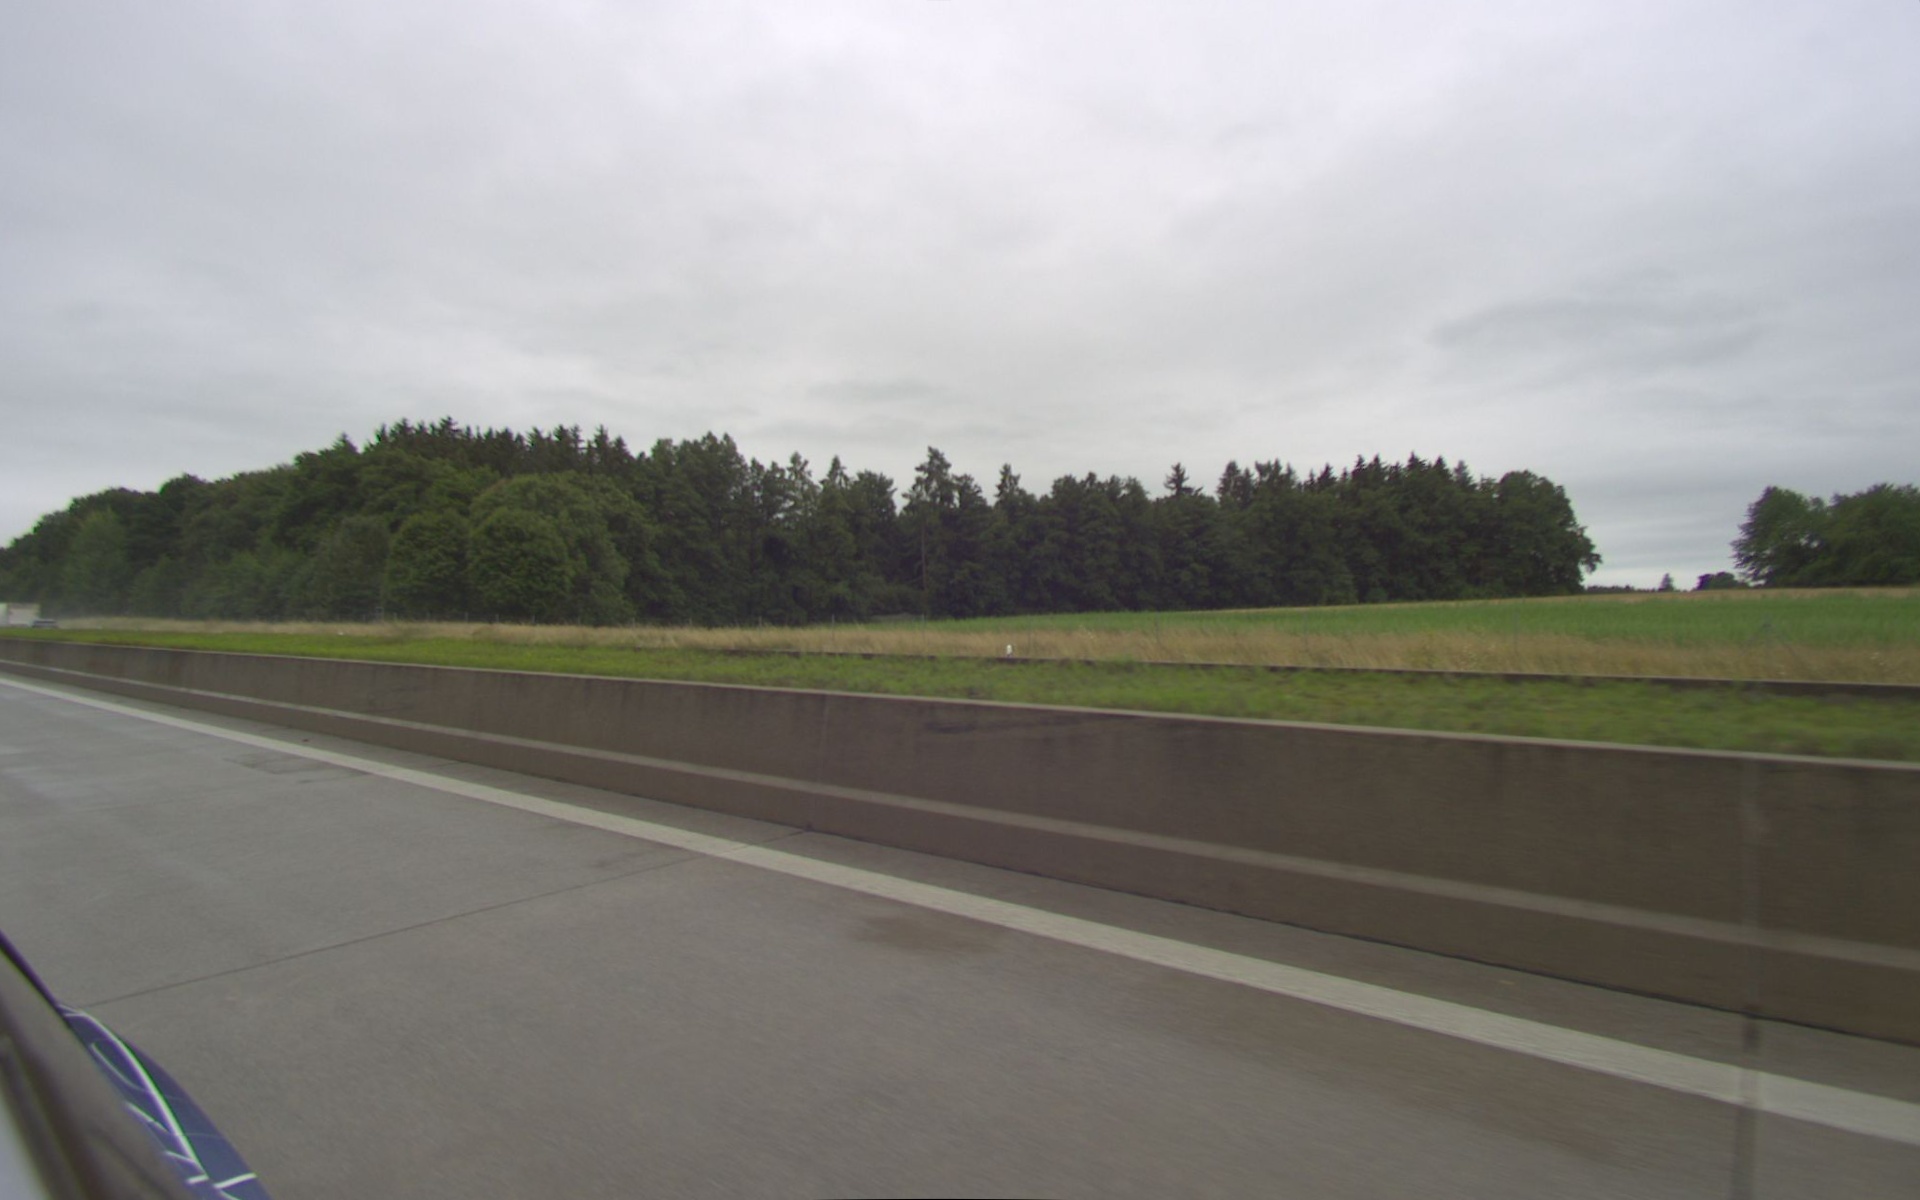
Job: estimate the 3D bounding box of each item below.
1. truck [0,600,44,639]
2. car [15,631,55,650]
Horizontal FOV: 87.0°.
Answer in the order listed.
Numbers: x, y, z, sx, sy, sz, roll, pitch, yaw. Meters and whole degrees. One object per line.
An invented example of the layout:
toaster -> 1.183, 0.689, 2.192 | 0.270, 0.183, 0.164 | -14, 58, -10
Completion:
truck -> -99.939, 2.146, 106.924 | 12.438, 3.885, 2.874 | -3, -3, 40
car -> -70.017, 3.050, 76.575 | 4.618, 1.398, 1.586 | -2, -2, 39
